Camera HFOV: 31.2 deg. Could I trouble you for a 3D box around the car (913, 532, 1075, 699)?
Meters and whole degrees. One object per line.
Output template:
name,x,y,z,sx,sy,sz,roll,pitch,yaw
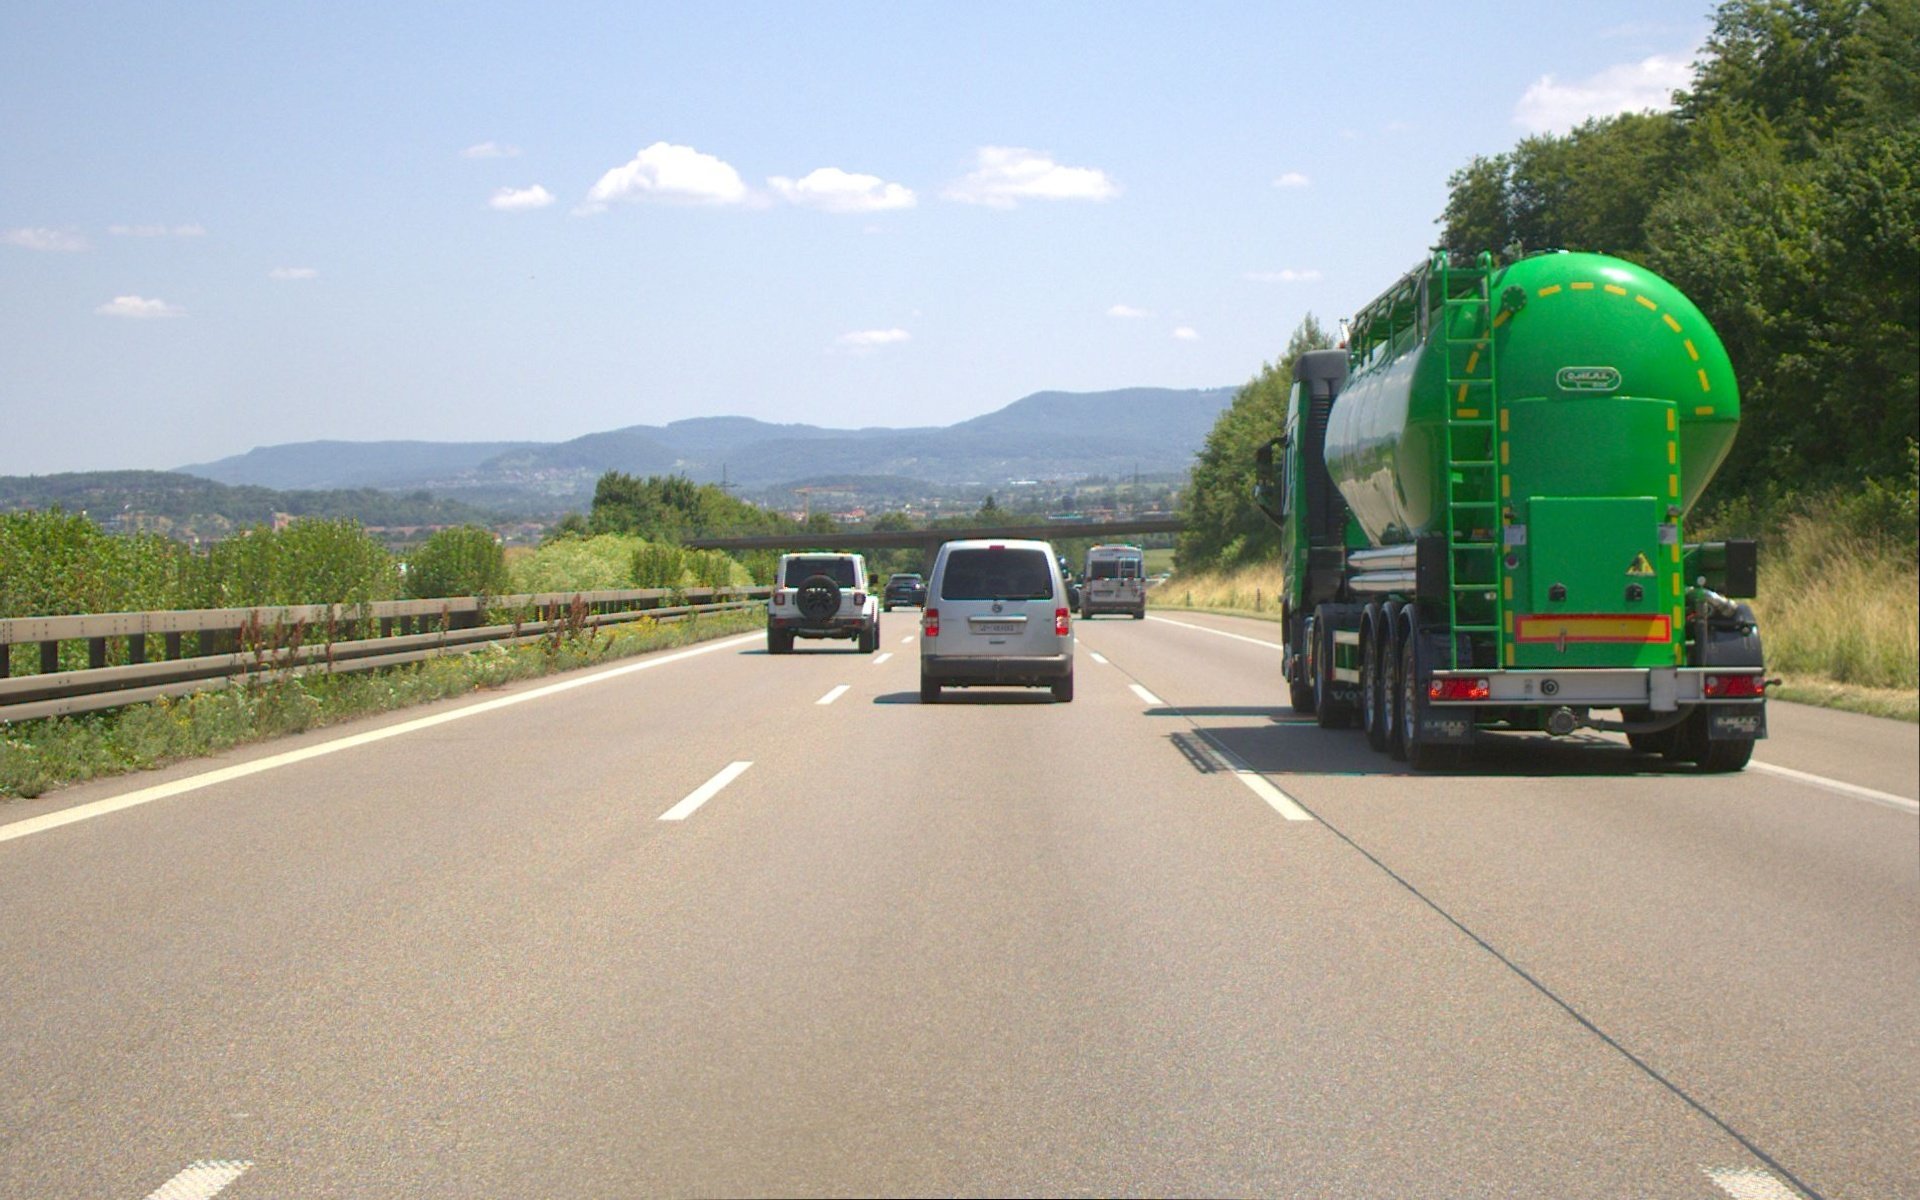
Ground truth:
car,0.341,0.132,40.253,1.745,1.823,4.801,0,1,-1

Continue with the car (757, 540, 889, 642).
car,-2.507,-0.206,64.180,2.083,1.823,4.753,0,1,2

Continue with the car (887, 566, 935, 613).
car,-2.131,-0.483,150.960,1.993,2.007,4.000,0,1,1

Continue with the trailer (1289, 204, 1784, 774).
trailer,4.576,-0.871,29.534,2.587,4.014,10.470,0,1,1

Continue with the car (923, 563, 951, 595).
car,-1.457,-1.358,220.908,1.698,2.007,3.822,0,1,1

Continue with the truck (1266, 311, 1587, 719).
truck,4.607,-0.838,34.801,2.509,3.828,4.893,0,1,-1

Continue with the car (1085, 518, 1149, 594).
car,5.429,-1.538,119.504,2.089,2.567,6.622,0,1,2
